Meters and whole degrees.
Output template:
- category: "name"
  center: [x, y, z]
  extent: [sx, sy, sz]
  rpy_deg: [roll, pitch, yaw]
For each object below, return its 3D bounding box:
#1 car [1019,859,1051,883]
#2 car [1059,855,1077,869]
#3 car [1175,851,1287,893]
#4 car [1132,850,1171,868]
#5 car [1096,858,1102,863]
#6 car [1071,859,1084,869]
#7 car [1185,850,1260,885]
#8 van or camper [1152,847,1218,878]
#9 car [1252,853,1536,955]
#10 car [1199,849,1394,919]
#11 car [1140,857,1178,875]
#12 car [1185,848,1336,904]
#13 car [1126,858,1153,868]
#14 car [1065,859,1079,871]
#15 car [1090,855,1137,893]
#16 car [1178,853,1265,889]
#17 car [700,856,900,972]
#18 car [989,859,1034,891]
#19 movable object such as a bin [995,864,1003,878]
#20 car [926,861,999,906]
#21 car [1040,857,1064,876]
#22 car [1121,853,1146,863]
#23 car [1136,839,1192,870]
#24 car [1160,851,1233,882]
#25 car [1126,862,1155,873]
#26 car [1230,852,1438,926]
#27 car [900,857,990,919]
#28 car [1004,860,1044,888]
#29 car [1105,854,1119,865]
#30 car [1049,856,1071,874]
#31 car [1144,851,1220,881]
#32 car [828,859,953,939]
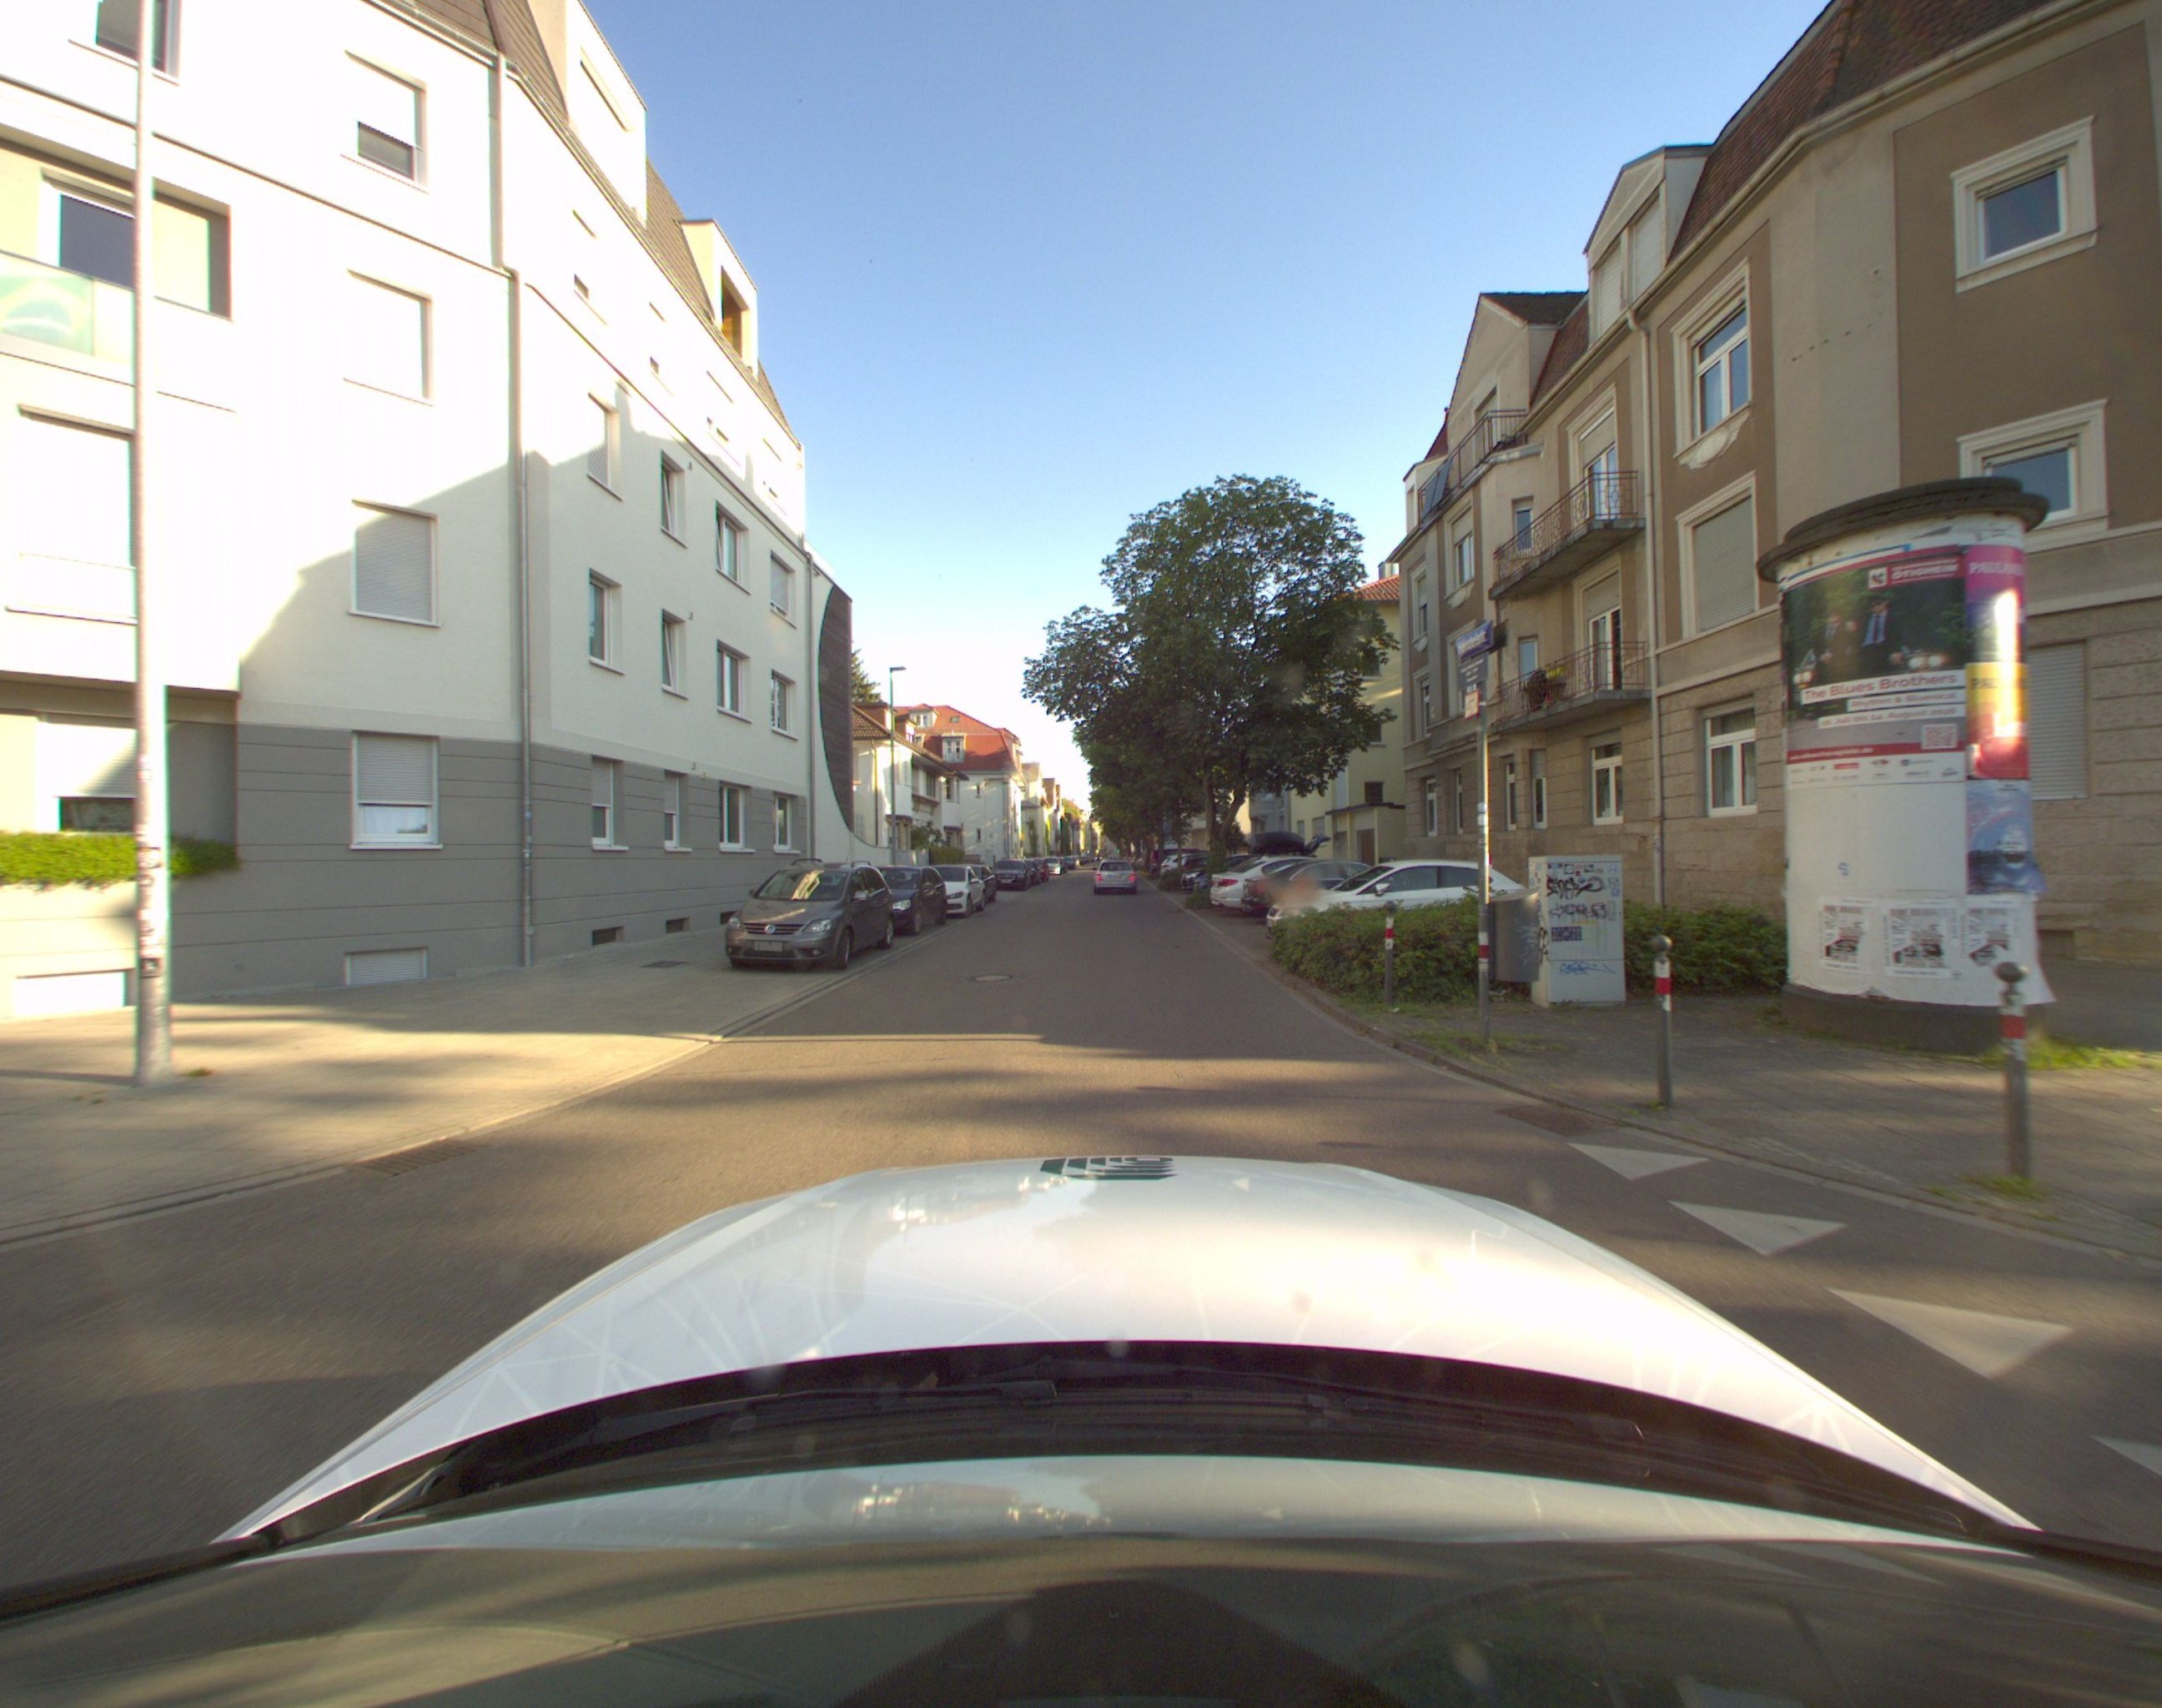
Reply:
- category: "car"
  center: [-2.876, 1.054, 51.743]
  extent: [1.653, 1.488, 3.756]
  rpy_deg: [0, -1, 2]
- category: "car"
  center: [-1.477, 0.922, 94.013]
  extent: [1.792, 1.482, 3.859]
  rpy_deg: [0, 0, 2]
- category: "car"
  center: [5.985, 0.729, 32.917]
  extent: [4.176, 1.558, 1.874]
  rpy_deg: [-1, -1, 0]
- category: "car"
  center: [8.392, 0.559, 96.961]
  extent: [4.504, 2.013, 2.251]
  rpy_deg: [-1, 0, 0]
- category: "car"
  center: [5.096, 1.719, 231.545]
  extent: [1.792, 1.387, 3.608]
  rpy_deg: [0, 0, 2]
- category: "car"
  center: [-0.532, 1.550, 124.258]
  extent: [1.792, 1.387, 3.608]
  rpy_deg: [0, 0, 2]
- category: "car"
  center: [7.190, 0.687, 41.707]
  extent: [3.535, 1.654, 1.725]
  rpy_deg: [-1, -1, 0]
- category: "van or camper"
  center: [6.866, 0.553, 54.245]
  extent: [4.293, 2.014, 2.003]
  rpy_deg: [0, 0, 4]
- category: "car"
  center: [5.080, 0.790, 13.655]
  extent: [4.034, 1.505, 1.862]
  rpy_deg: [-1, -1, 0]
- category: "car"
  center: [5.479, 0.730, 21.045]
  extent: [4.468, 1.525, 1.951]
  rpy_deg: [-2, 1, -4]
- category: "car"
  center: [7.752, 1.164, 80.920]
  extent: [3.583, 1.660, 1.649]
  rpy_deg: [-1, 0, -1]
- category: "car"
  center: [5.756, 0.708, 26.578]
  extent: [4.511, 1.641, 1.874]
  rpy_deg: [-1, -1, 0]
- category: "car"
  center: [8.518, 1.313, 118.525]
  extent: [3.829, 1.482, 1.806]
  rpy_deg: [-1, 0, 2]
- category: "car"
  center: [-1.189, 1.460, 110.351]
  extent: [1.792, 1.482, 3.859]
  rpy_deg: [0, 0, 2]
- category: "car"
  center: [1.429, 0.836, 34.483]
  extent: [1.808, 1.473, 4.221]
  rpy_deg: [-1, -1, 5]
- category: "car"
  center: [6.658, 0.792, 38.967]
  extent: [3.908, 1.558, 1.727]
  rpy_deg: [-1, 0, 3]
- category: "car"
  center: [-4.374, 0.850, 13.418]
  extent: [1.878, 1.591, 4.089]
  rpy_deg: [-1, -1, 0]
- category: "car"
  center: [-3.364, 1.004, 40.038]
  extent: [1.848, 1.498, 4.653]
  rpy_deg: [0, -1, -1]
- category: "movable object such as a bin"
  center: [-6.602, 1.378, 65.779]
  extent: [0.525, 1.107, 0.590]
  rpy_deg: [0, -2, 2]
- category: "car"
  center: [-4.010, 0.969, 28.264]
  extent: [1.751, 1.447, 4.144]
  rpy_deg: [0, -1, 2]
- category: "car"
  center: [-2.352, 1.001, 66.152]
  extent: [1.653, 1.499, 3.756]
  rpy_deg: [0, -1, 2]
- category: "car"
  center: [8.225, 0.593, 126.981]
  extent: [3.829, 1.482, 1.806]
  rpy_deg: [-1, 0, 2]
- category: "car"
  center: [8.510, 0.042, 83.830]
  extent: [5.525, 2.968, 2.471]
  rpy_deg: [-1, 0, -1]
- category: "car"
  center: [6.246, 0.682, 44.338]
  extent: [3.717, 1.558, 1.725]
  rpy_deg: [-1, -1, 0]
- category: "car"
  center: [8.039, 1.856, 110.826]
  extent: [3.829, 1.482, 1.806]
  rpy_deg: [-1, 0, 2]
- category: "car"
  center: [5.578, 0.756, 18.288]
  extent: [4.128, 1.448, 1.673]
  rpy_deg: [-2, -1, 0]
- category: "car"
  center: [-3.773, 0.911, 23.316]
  extent: [1.878, 1.591, 4.089]
  rpy_deg: [-1, -1, 0]
- category: "car"
  center: [-3.181, 1.112, 46.384]
  extent: [1.776, 1.498, 4.702]
  rpy_deg: [0, -1, 2]
- category: "car"
  center: [4.408, 0.788, 115.260]
  extent: [1.808, 1.473, 4.221]
  rpy_deg: [-1, -1, 5]
- category: "car"
  center: [-1.927, 1.008, 76.205]
  extent: [1.792, 1.644, 3.859]
  rpy_deg: [0, 0, 2]
- category: "car"
  center: [6.365, 0.752, 51.746]
  extent: [4.608, 1.836, 1.954]
  rpy_deg: [0, 0, 1]
- category: "car"
  center: [-4.188, 0.930, 18.592]
  extent: [1.878, 1.591, 4.089]
  rpy_deg: [-1, -1, 0]
